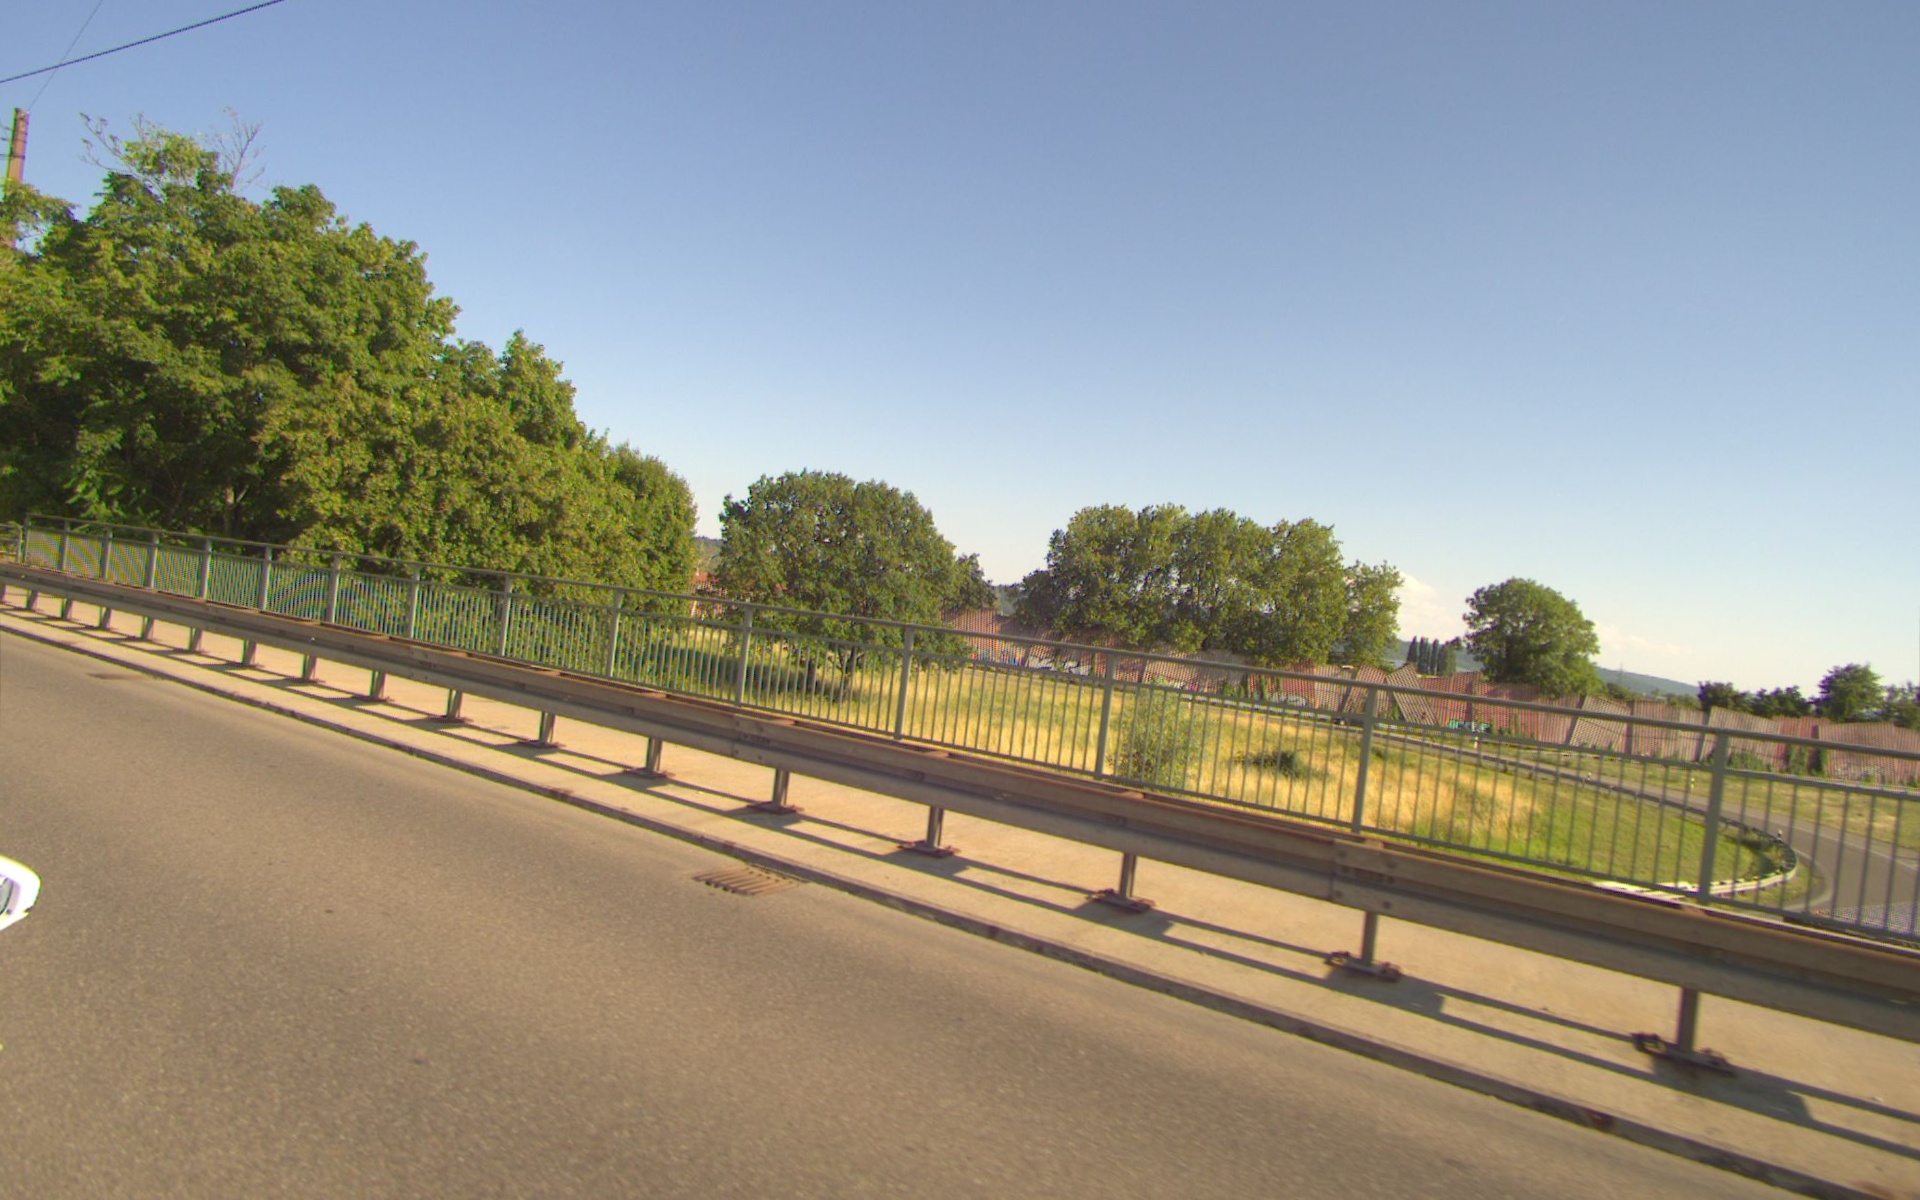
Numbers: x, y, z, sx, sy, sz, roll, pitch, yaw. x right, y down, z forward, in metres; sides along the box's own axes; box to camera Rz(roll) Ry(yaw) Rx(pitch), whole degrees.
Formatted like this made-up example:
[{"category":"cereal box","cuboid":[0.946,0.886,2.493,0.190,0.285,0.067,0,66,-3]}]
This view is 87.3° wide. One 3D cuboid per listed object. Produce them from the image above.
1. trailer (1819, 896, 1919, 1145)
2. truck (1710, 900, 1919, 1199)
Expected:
[{"category":"trailer","cuboid":[23.498,8.971,22.399,11.351,4.204,2.543,6,-2,-28]},{"category":"truck","cuboid":[17.567,8.320,19.221,6.407,4.219,2.543,6,-2,-28]}]
